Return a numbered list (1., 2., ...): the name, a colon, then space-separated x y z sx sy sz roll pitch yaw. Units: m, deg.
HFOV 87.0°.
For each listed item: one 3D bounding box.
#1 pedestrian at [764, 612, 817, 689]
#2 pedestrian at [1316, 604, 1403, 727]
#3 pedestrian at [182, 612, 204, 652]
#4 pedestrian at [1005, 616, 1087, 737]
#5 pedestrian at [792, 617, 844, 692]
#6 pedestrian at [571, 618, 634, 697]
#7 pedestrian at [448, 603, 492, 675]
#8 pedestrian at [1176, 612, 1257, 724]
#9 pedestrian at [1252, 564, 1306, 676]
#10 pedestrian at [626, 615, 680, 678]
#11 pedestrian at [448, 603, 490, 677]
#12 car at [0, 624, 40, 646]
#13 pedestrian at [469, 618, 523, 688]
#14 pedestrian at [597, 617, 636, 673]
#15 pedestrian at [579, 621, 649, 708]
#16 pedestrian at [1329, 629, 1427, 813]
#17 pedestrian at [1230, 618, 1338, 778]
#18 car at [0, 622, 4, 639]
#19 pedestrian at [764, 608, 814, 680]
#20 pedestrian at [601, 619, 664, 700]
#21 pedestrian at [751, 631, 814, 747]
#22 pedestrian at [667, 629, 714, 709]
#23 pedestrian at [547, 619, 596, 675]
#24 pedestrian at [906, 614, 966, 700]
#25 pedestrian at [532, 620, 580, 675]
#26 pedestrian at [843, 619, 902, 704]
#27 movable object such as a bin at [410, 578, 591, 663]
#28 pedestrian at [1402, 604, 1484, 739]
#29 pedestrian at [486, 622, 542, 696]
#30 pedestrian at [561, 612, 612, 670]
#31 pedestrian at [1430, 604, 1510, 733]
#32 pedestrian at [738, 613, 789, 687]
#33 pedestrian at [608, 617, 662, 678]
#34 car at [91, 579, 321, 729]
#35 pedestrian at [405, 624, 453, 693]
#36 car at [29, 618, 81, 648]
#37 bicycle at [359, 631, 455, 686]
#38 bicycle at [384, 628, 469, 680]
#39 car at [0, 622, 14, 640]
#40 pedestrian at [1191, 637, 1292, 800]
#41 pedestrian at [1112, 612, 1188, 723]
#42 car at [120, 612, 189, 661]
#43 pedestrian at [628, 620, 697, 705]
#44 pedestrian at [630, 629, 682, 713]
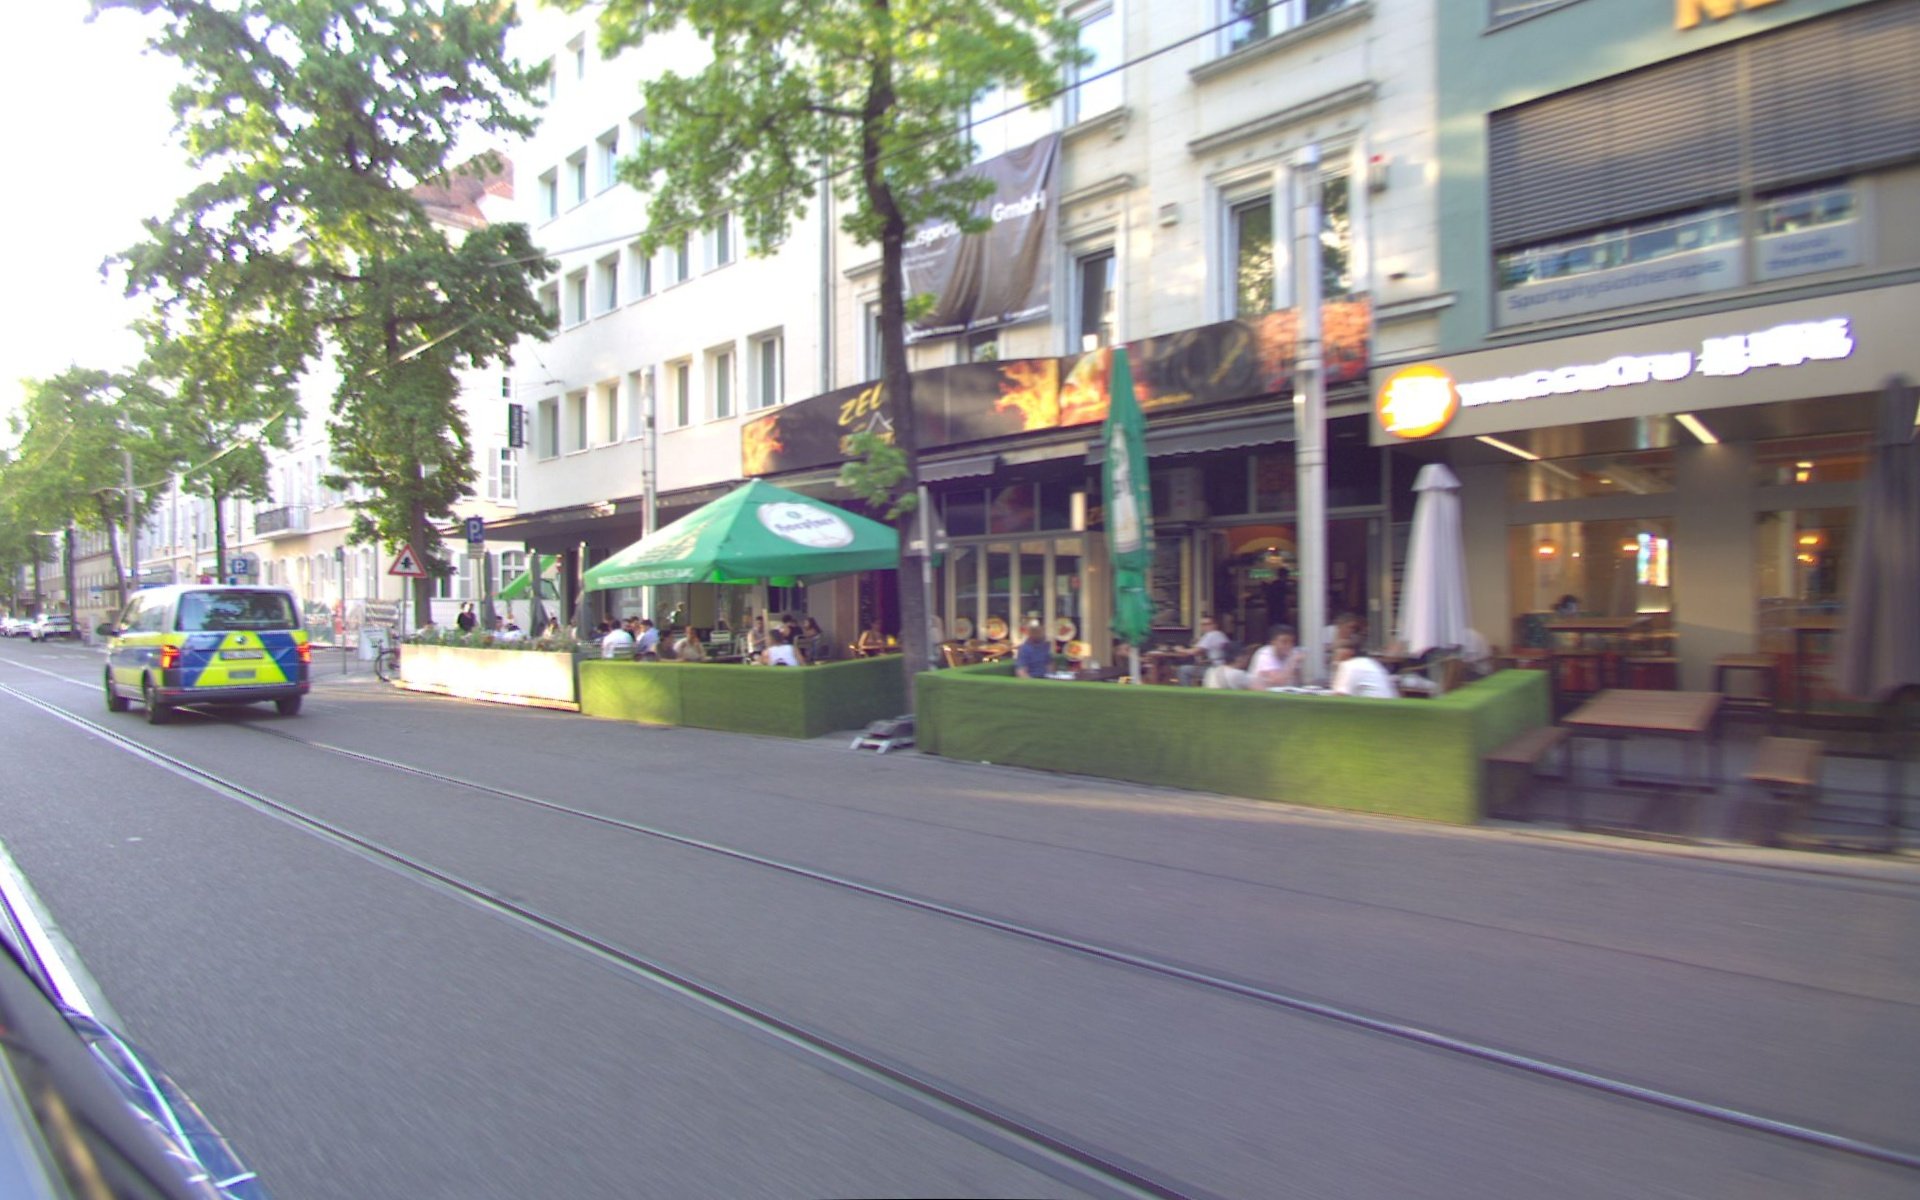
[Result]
1. pedestrian: -3.181 0.928 19.014 0.765 1.388 0.647 0 0 43
2. pedestrian: 4.755 0.749 12.033 0.765 1.388 0.683 0 0 43
3. pedestrian: -36.692 1.520 48.432 0.769 1.898 0.670 -1 1 43
4. pedestrian: 0.957 0.829 11.276 0.600 1.274 0.701 0 0 42
5. pedestrian: -2.734 1.036 19.541 0.765 1.388 0.647 0 0 43
6. pedestrian: -6.598 1.037 18.668 1.012 1.372 0.708 -1 0 44
7. pedestrian: -12.189 0.951 25.172 0.635 1.754 0.779 -1 0 11
8. pedestrian: 3.239 0.826 12.781 0.765 1.340 0.647 0 0 43
9. pedestrian: 5.199 0.317 16.468 0.761 1.779 0.651 0 0 24
10. pedestrian: -6.865 1.020 22.631 0.837 1.330 0.882 -1 0 -44
11. pedestrian: -11.876 0.953 24.487 0.632 1.754 0.781 -1 0 0
12. car: -69.843 2.583 75.070 4.104 1.514 1.972 -1 -1 42
13. pedestrian: -9.404 1.054 20.510 0.925 1.372 0.708 -1 0 44
14. pedestrian: -8.480 1.090 24.969 0.615 1.330 0.842 -1 0 -45
15. pedestrian: -5.732 1.041 16.759 1.012 1.372 0.708 -1 0 44
16. pedestrian: 3.380 0.942 8.182 0.565 1.388 0.573 0 0 42
17. pedestrian: 2.950 0.856 9.212 0.731 1.356 0.637 0 0 43
18. car: -89.089 2.828 92.706 4.106 1.561 1.971 -1 -1 44
19. pedestrian: -3.412 0.864 20.180 0.765 1.388 0.647 0 0 43
20. pedestrian: -5.810 1.034 17.946 0.925 1.372 0.708 -1 0 44
21. pedestrian: -2.224 1.092 12.710 0.565 1.388 0.541 0 0 43
22. pedestrian: -4.311 1.082 16.177 0.511 1.228 0.537 -1 0 44
23. pedestrian: -9.636 1.147 25.112 0.837 1.330 0.882 -1 0 -44
24. pedestrian: -0.408 0.936 16.969 0.765 1.388 0.647 0 0 43
25. pedestrian: -10.324 1.195 25.859 0.875 1.330 0.882 -1 0 -45
26. pedestrian: -1.498 1.027 17.334 0.765 1.388 0.647 0 0 43
27. movable object such as a bin: -16.844 0.719 37.353 2.642 2.894 5.491 0 -1 40
28. pedestrian: 5.215 0.743 10.926 0.648 1.388 0.598 0 0 43
29. pedestrian: -8.650 1.120 19.607 0.872 1.372 0.708 -1 0 44
30. pedestrian: -9.009 0.975 24.409 0.875 1.330 0.882 -1 0 -45
31. pedestrian: 5.729 0.746 11.377 0.679 1.388 0.531 0 0 43
32. pedestrian: -3.814 0.952 19.637 0.765 1.388 0.647 0 0 43
33. pedestrian: -7.486 1.074 23.295 0.875 1.330 0.882 -1 0 -45
34. car: -11.875 0.758 15.799 4.848 1.991 1.972 -1 -1 42
35. pedestrian: -11.154 1.204 21.258 0.793 1.387 0.685 -1 0 44
36. car: -56.087 2.021 62.719 4.104 1.751 1.972 -1 -1 42
37. bicycle: -12.646 1.319 23.186 0.626 1.147 1.842 0 0 39
38. bicycle: -12.802 1.277 24.337 0.773 1.147 1.858 -1 0 14
39. car: -84.535 2.720 88.806 4.106 1.588 1.971 -1 -1 44
40. pedestrian: 2.382 0.969 8.572 0.641 1.276 0.545 0 0 43
41. pedestrian: 2.520 0.869 13.434 0.765 1.388 0.647 0 0 43
42. car: -32.538 1.443 40.839 1.748 1.778 3.880 -3 1 -44
43. pedestrian: -5.068 1.031 17.227 1.012 1.372 0.708 -1 0 44
44. pedestrian: -4.730 1.091 15.738 0.544 1.245 0.579 -1 0 44
